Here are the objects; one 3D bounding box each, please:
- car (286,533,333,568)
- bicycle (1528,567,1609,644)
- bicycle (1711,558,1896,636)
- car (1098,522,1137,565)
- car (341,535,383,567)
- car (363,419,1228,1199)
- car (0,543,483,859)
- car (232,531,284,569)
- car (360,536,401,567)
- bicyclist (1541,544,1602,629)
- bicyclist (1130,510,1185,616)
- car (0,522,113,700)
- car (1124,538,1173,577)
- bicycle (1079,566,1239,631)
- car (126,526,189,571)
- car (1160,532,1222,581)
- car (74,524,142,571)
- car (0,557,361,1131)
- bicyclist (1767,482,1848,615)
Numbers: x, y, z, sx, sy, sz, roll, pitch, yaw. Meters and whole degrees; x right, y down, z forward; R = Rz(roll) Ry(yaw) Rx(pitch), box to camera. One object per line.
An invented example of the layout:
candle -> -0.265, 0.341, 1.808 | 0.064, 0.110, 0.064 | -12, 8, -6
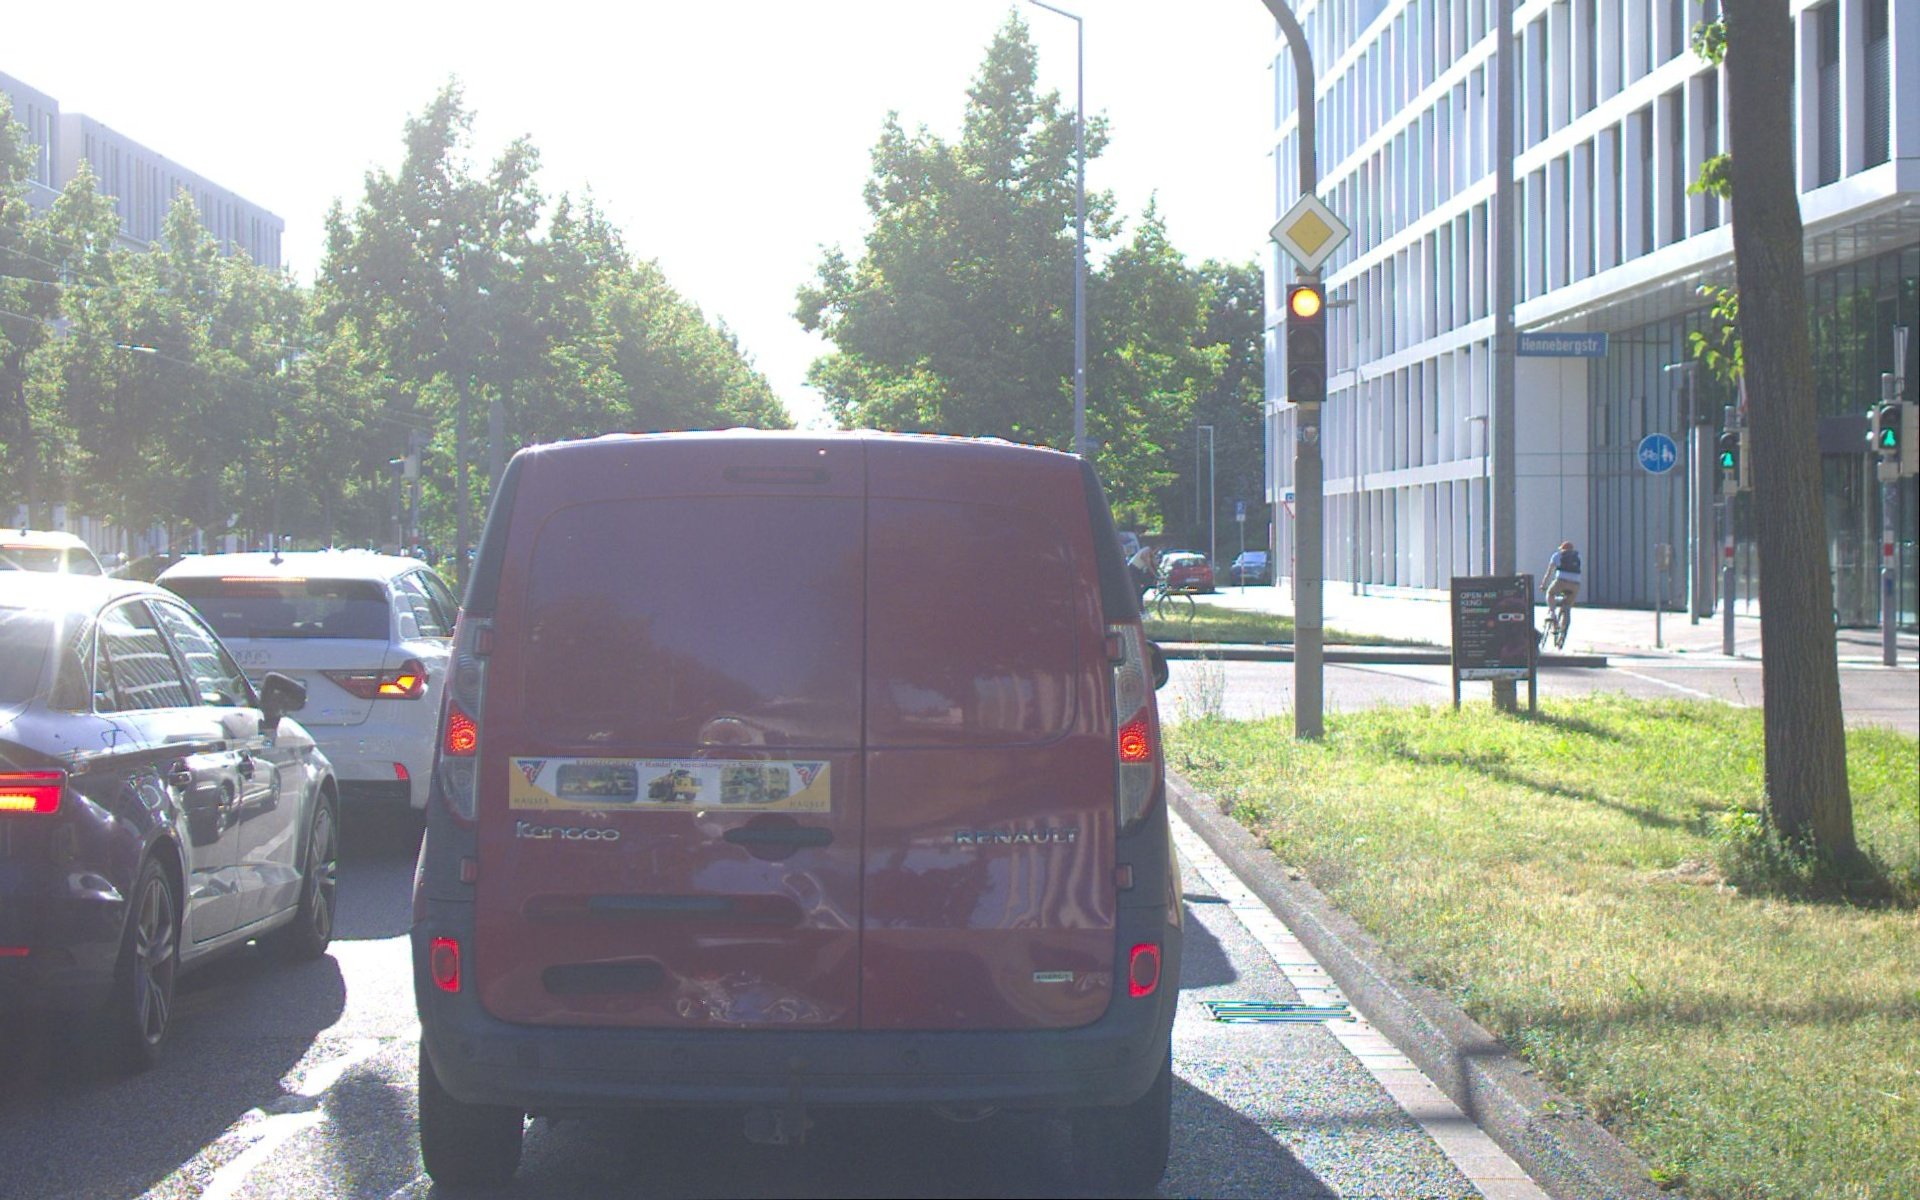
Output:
car -> -37.676, -2.885, 199.228 | 1.993, 2.007, 4.000 | 0, 1, -1
bicycle -> 9.183, 0.065, 51.984 | 0.818, 1.111, 2.846 | 0, 1, 2
bicycle -> 13.395, -0.064, 54.717 | 0.815, 1.186, 2.950 | -1, 1, -40
car -> 9.073, -3.263, 198.327 | 1.993, 2.488, 4.987 | 0, 1, -1
car -> -37.756, -3.098, 217.246 | 1.993, 2.007, 4.000 | 0, 1, -1
car -> -0.377, 0.465, 9.343 | 1.842, 1.774, 4.000 | 0, 1, -1
car -> -3.585, 0.426, 17.568 | 1.803, 1.421, 3.901 | 0, 1, -1
car -> -37.226, -2.672, 182.414 | 1.993, 2.007, 4.000 | 0, 1, -1
car -> -37.545, -3.156, 222.870 | 1.993, 2.007, 4.000 | 0, 1, -1
bicyclist -> 9.232, -0.204, 51.893 | 0.818, 1.270, 0.683 | 0, 1, 2
bicyclist -> 3.667, -0.689, 63.844 | 0.998, 1.940, 0.818 | 0, 1, 1
car -> -9.163, 0.051, 32.026 | 1.514, 1.487, 4.216 | -1, 2, -28
car -> 8.785, -1.998, 160.620 | 1.993, 1.776, 4.000 | 0, 1, -1
bicycle -> 3.683, -0.033, 63.839 | 2.942, 1.186, 0.818 | 0, 1, 1
car -> -36.966, -2.382, 158.428 | 1.993, 2.007, 4.000 | 0, 1, -1
car -> 8.575, -1.628, 128.134 | 1.993, 1.776, 4.000 | 0, 1, -1
car -> -36.979, -2.276, 149.327 | 1.993, 2.007, 4.000 | 0, 1, -1
car -> -3.168, 0.591, 10.868 | 1.842, 1.421, 4.339 | 0, 1, -1
bicyclist -> 13.461, -0.816, 54.626 | 0.815, 2.085, 0.942 | -1, 1, -40
